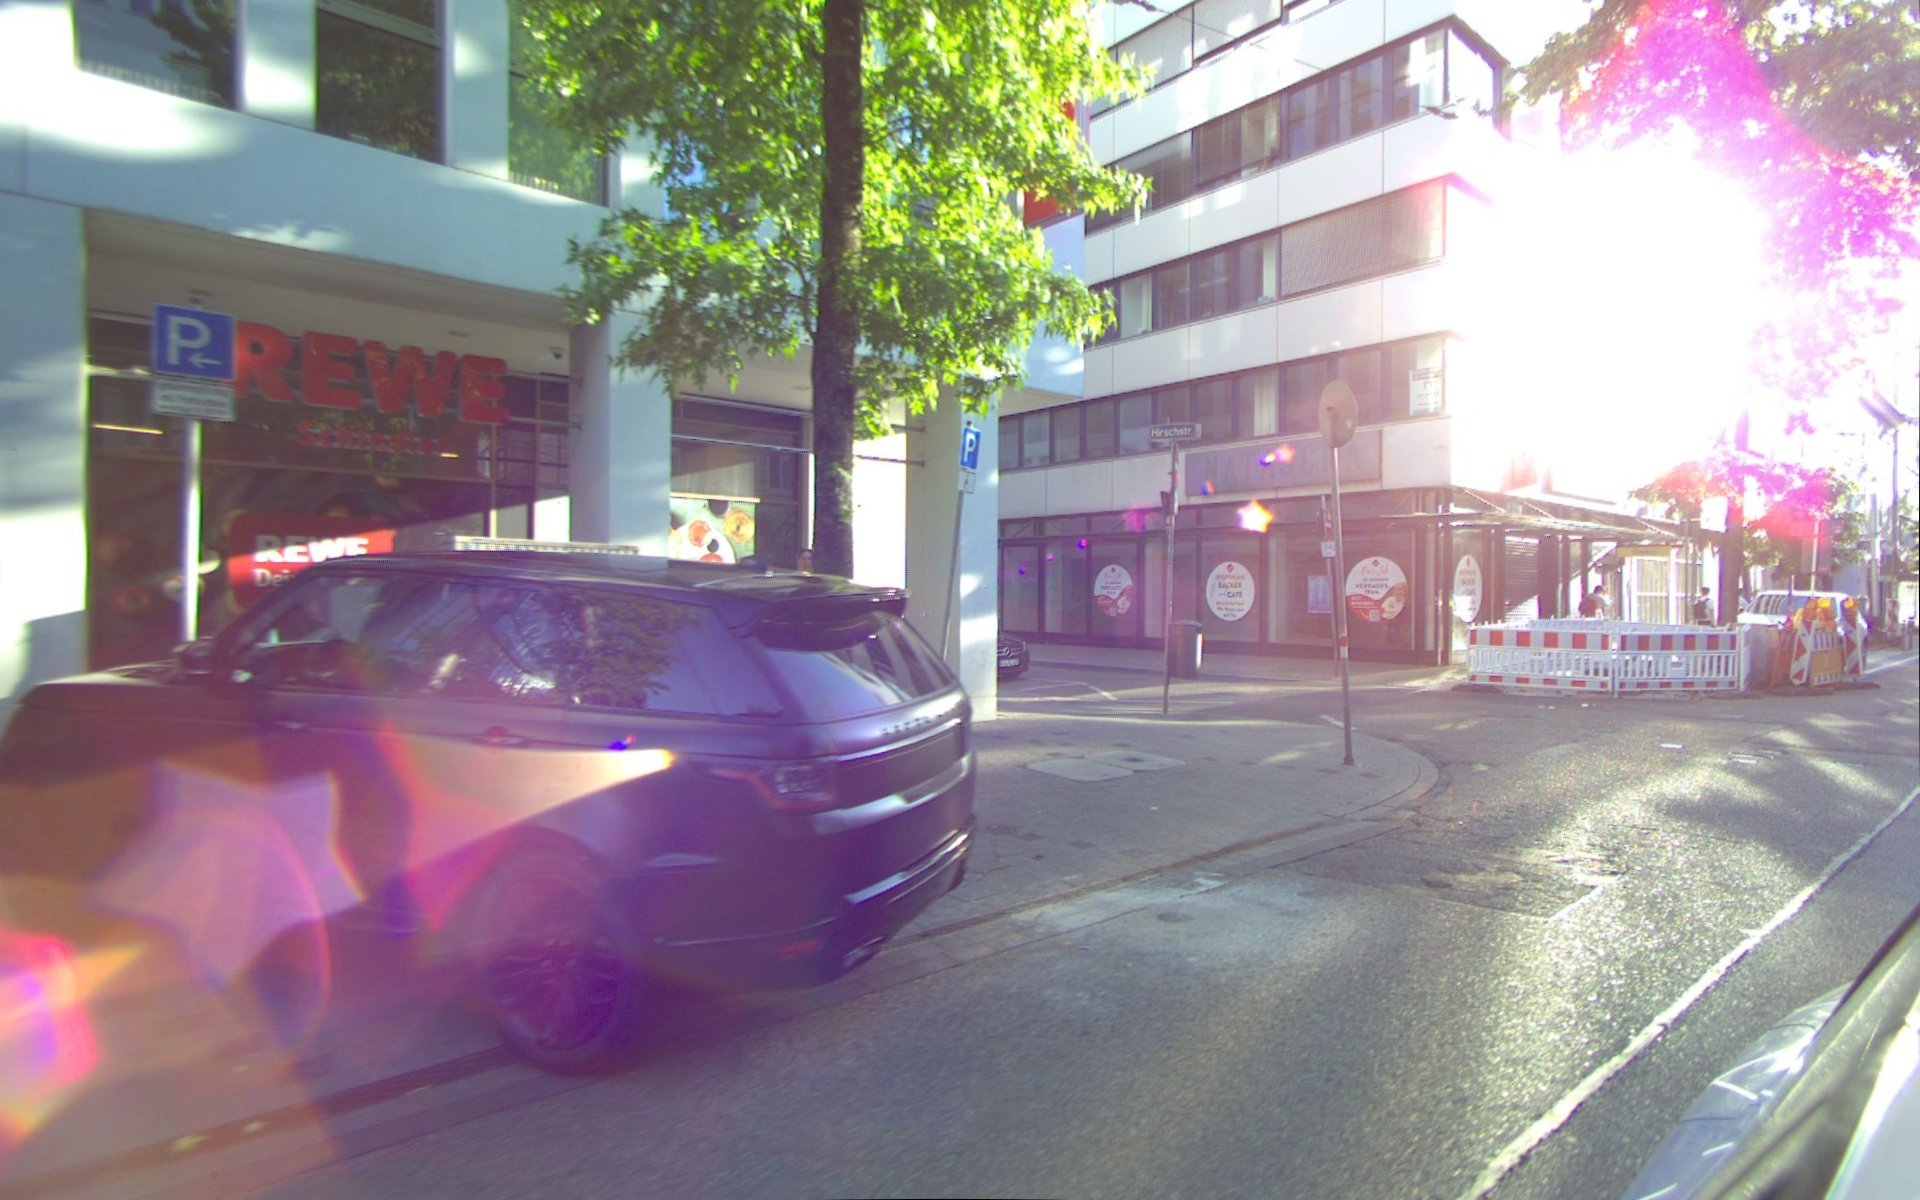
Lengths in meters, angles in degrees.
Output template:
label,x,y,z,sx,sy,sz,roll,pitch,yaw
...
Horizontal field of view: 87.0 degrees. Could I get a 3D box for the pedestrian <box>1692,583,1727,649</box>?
label,x,y,z,sx,sy,sz,roll,pitch,yaw
pedestrian,21.233,0.443,28.674,0.623,1.853,0.689,0,0,-40

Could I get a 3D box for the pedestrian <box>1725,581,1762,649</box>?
label,x,y,z,sx,sy,sz,roll,pitch,yaw
pedestrian,21.866,0.404,28.248,0.623,1.853,0.706,0,0,-40

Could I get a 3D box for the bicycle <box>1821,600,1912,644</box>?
label,x,y,z,sx,sy,sz,roll,pitch,yaw
bicycle,26.740,0.624,29.880,0.824,1.148,1.820,-1,3,-32

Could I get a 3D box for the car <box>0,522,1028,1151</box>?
label,x,y,z,sx,sy,sz,roll,pitch,yaw
car,-2.190,0.591,4.695,4.611,1.785,1.981,2,2,21

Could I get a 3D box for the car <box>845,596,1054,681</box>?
label,x,y,z,sx,sy,sz,roll,pitch,yaw
car,-0.309,0.666,20.141,1.766,1.436,4.322,-3,2,-41

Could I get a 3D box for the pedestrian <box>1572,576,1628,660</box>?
label,x,y,z,sx,sy,sz,roll,pitch,yaw
pedestrian,15.193,0.408,24.021,0.901,1.921,0.836,0,1,-37

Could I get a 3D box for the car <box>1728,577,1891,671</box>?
label,x,y,z,sx,sy,sz,roll,pitch,yaw
car,18.700,0.446,22.205,4.823,1.758,2.027,0,3,-42

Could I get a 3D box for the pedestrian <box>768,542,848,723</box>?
label,x,y,z,sx,sy,sz,roll,pitch,yaw
pedestrian,-1.600,0.315,10.710,0.786,1.840,0.758,1,2,-7
